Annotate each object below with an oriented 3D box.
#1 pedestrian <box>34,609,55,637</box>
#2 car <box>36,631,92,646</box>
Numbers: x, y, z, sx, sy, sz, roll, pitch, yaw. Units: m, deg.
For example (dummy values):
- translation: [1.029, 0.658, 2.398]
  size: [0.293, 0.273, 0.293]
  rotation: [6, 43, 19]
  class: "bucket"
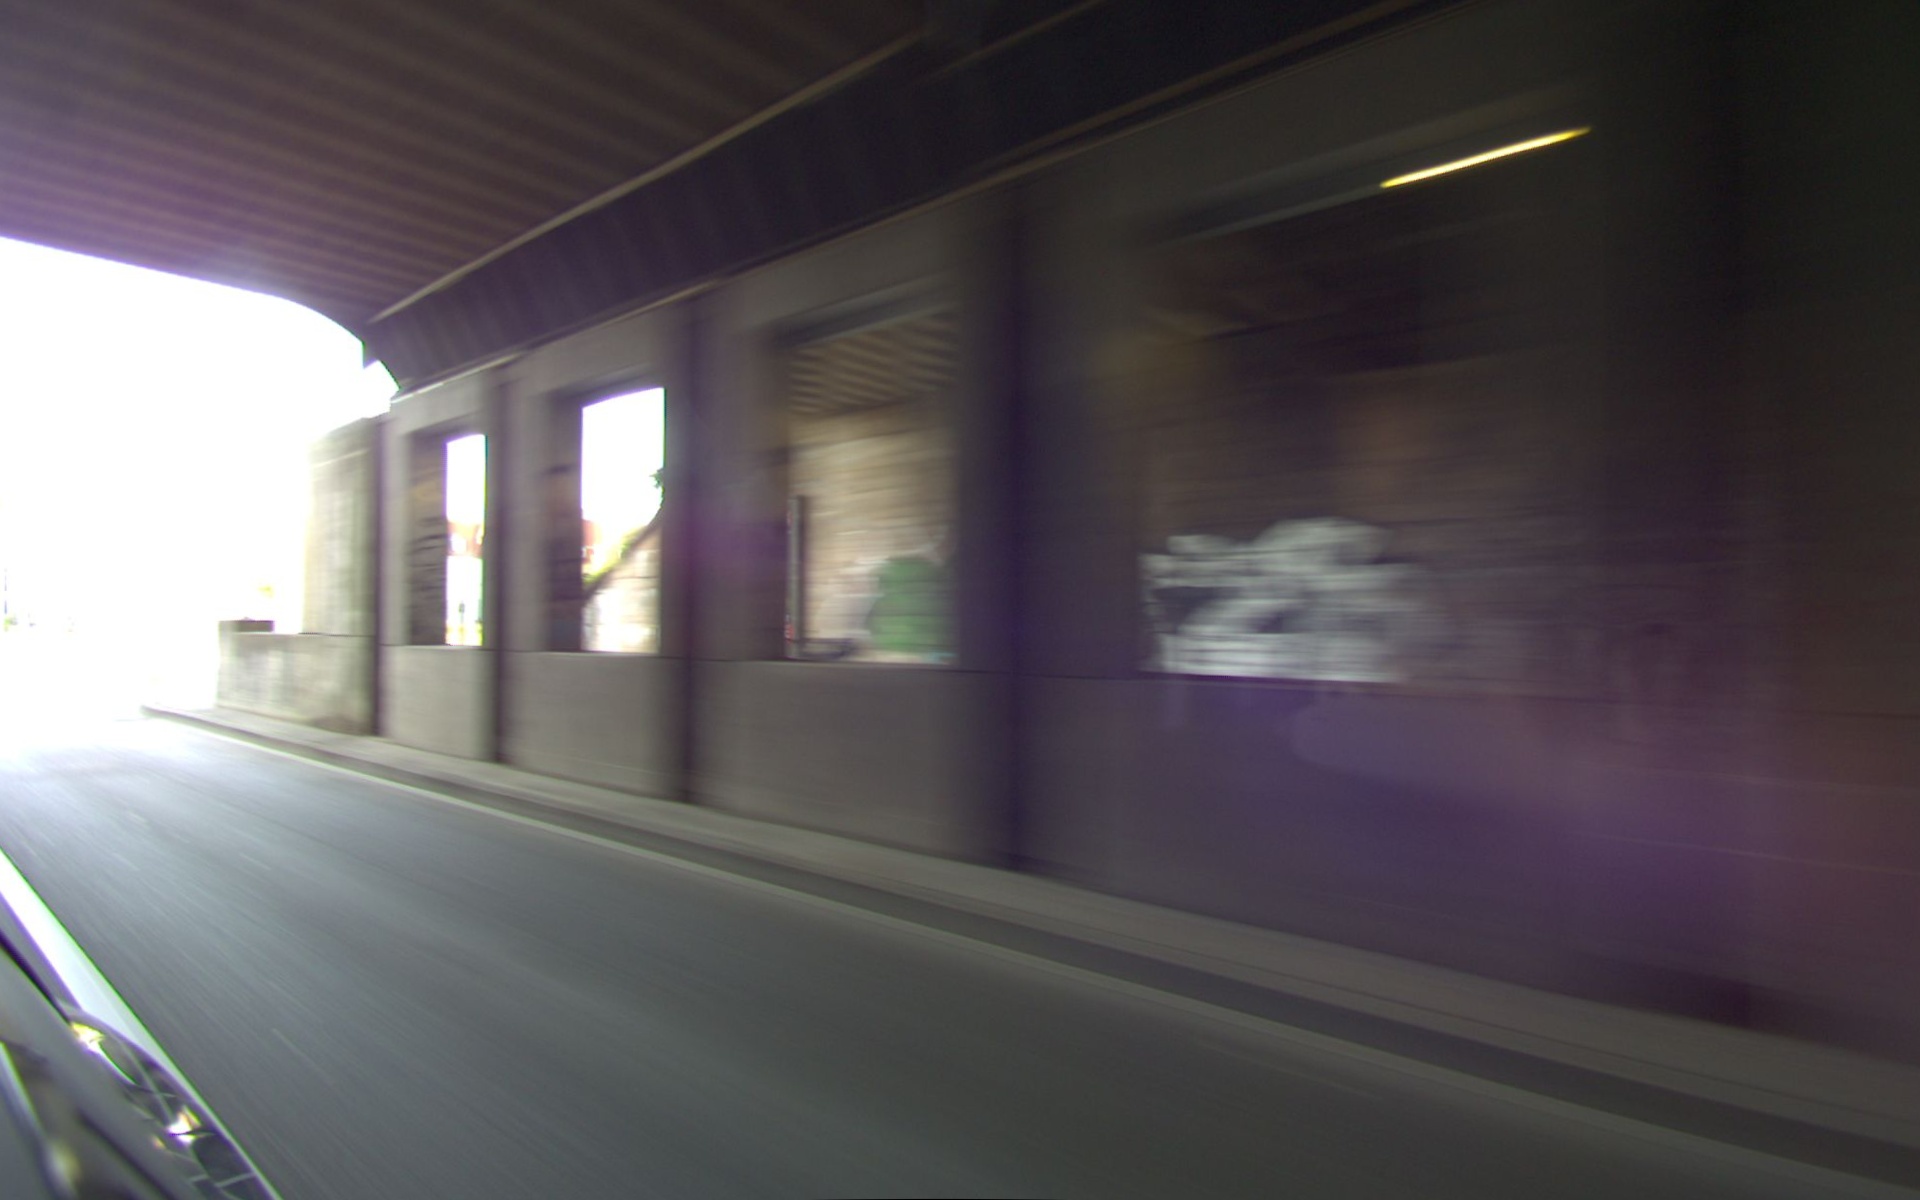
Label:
- translation: [-55.487, 1.403, 61.313]
  size: [1.181, 1.641, 0.823]
  rotation: [-1, 0, 43]
  class: "pedestrian"
- translation: [-92.090, 3.945, 104.037]
  size: [1.941, 1.505, 4.149]
  rotation: [-3, -3, 41]
  class: "car"
